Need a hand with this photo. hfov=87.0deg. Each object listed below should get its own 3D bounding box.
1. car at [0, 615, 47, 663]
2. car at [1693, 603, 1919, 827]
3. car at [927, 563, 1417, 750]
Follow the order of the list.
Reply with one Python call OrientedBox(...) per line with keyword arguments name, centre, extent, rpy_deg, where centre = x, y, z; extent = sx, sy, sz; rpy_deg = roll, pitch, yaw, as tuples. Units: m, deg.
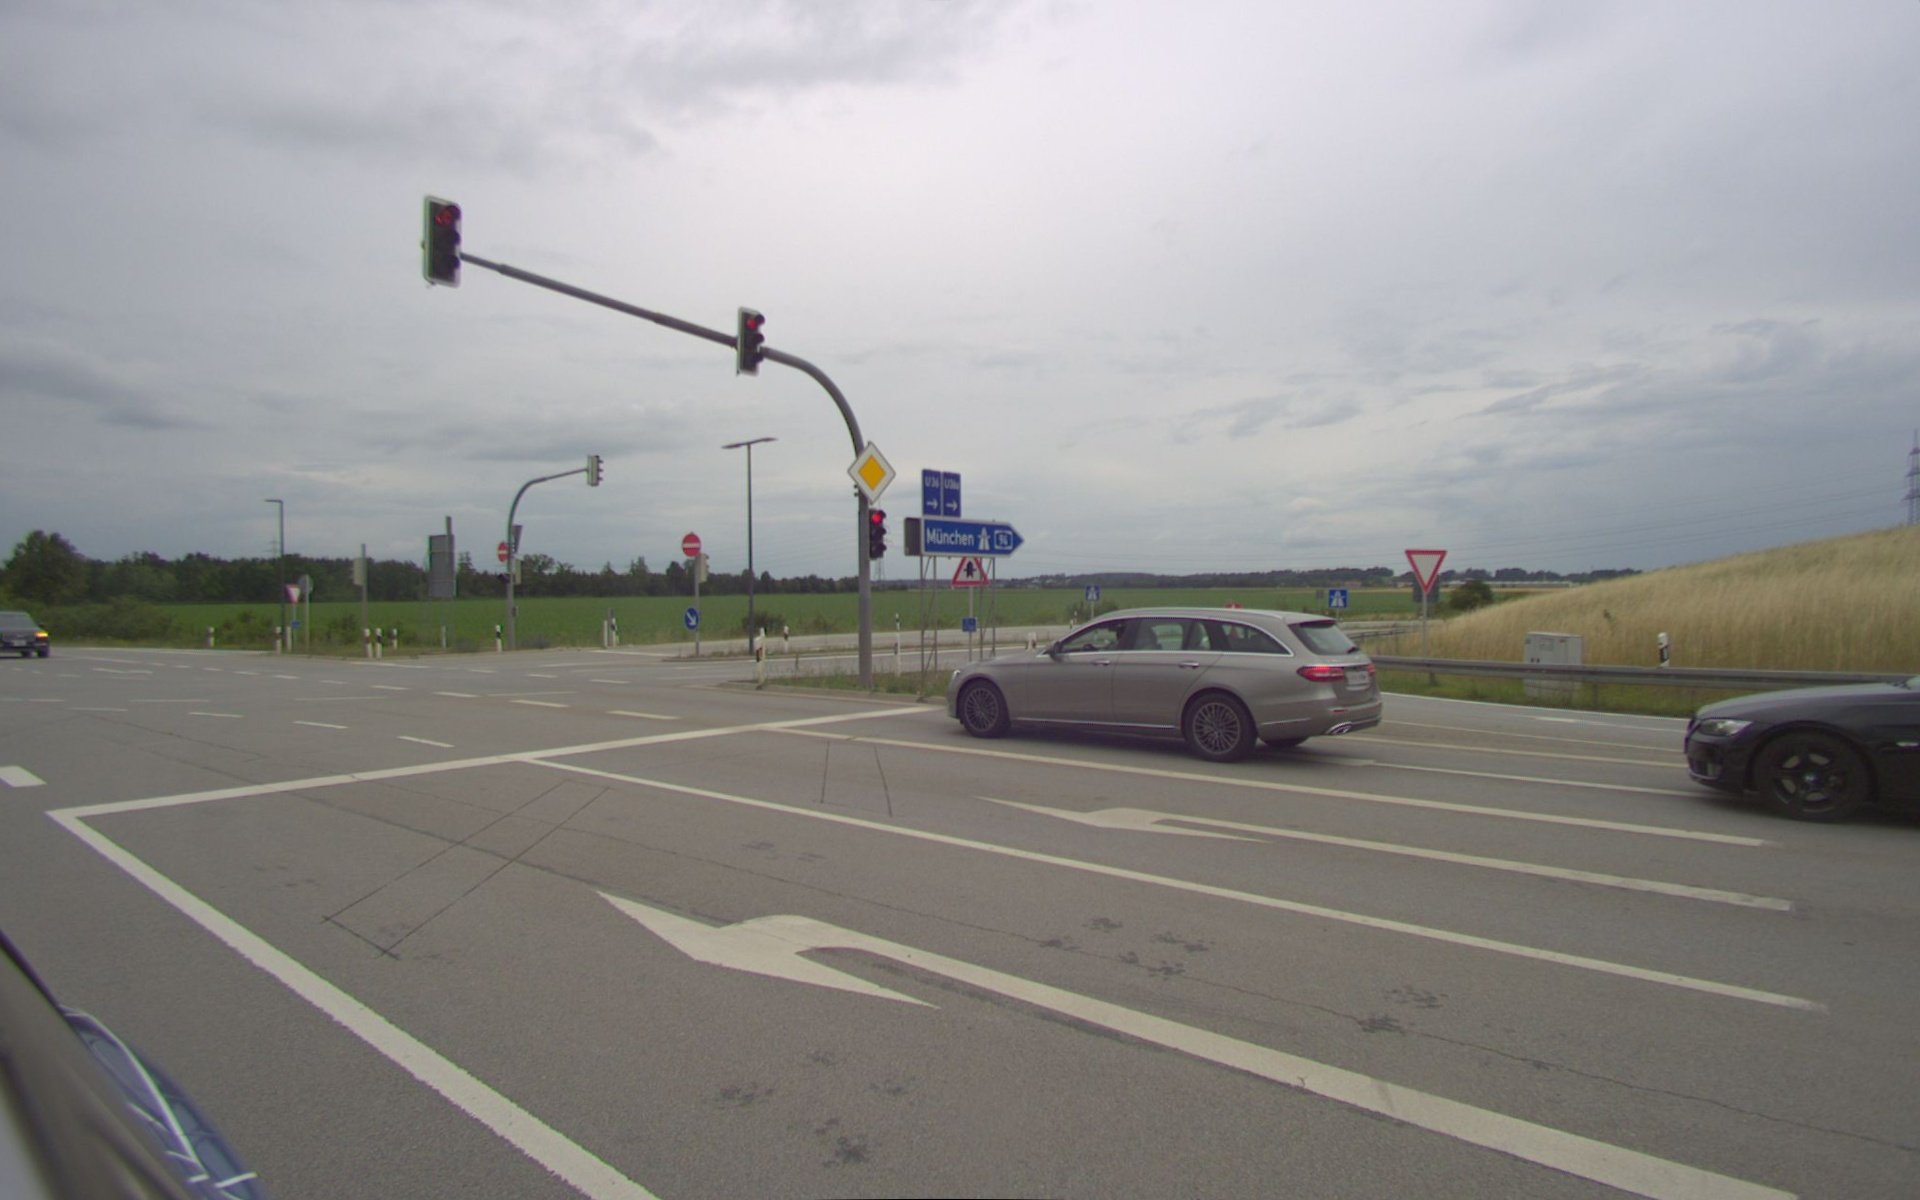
OrientedBox(name="car", centre=(-35.633, 1.424, 37.804), extent=(5.000, 1.696, 1.971), rpy_deg=(-1, -1, 44))
OrientedBox(name="car", centre=(7.570, 0.738, 6.421), extent=(4.669, 1.421, 1.690), rpy_deg=(0, 0, 39))
OrientedBox(name="car", centre=(2.123, 0.549, 11.068), extent=(4.943, 1.623, 1.896), rpy_deg=(-1, -2, 39))
